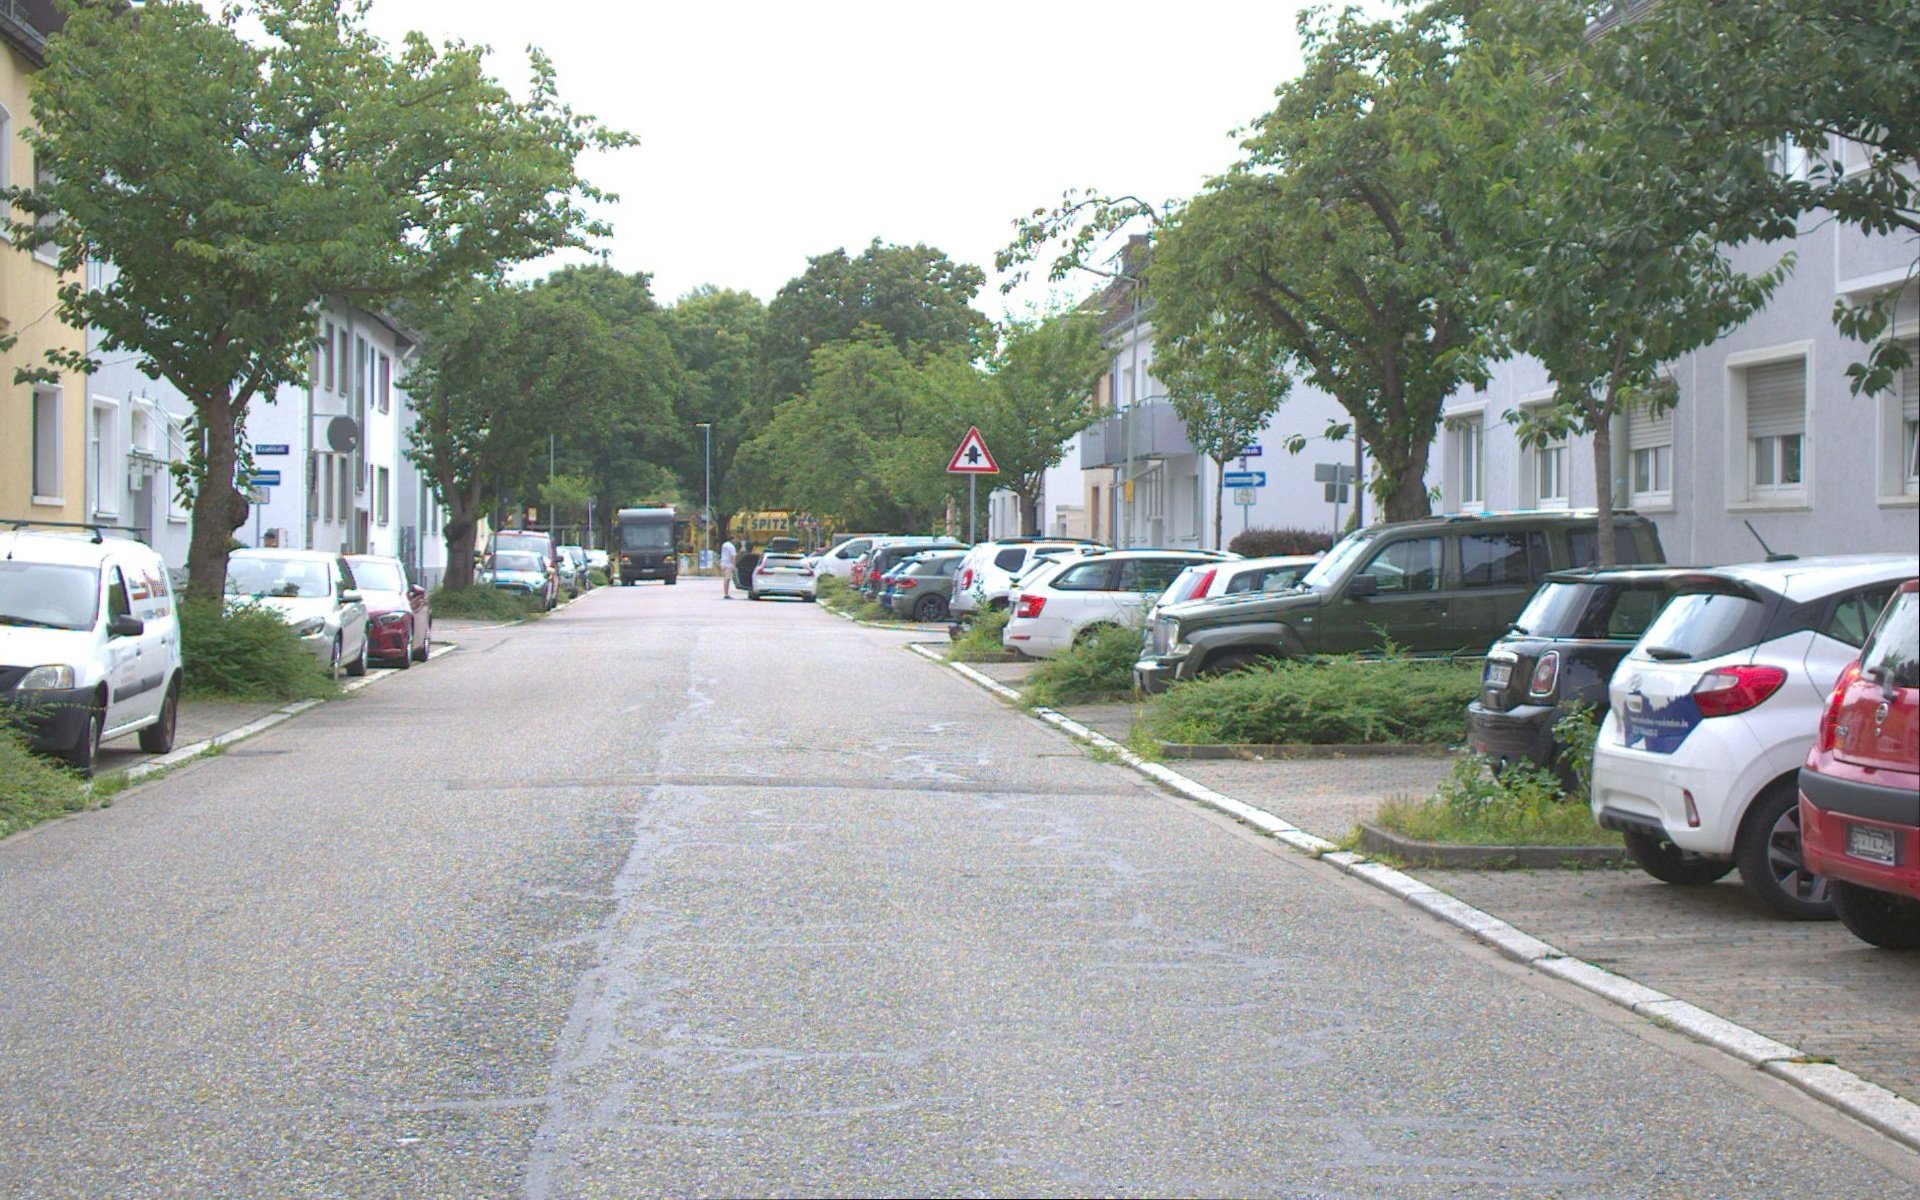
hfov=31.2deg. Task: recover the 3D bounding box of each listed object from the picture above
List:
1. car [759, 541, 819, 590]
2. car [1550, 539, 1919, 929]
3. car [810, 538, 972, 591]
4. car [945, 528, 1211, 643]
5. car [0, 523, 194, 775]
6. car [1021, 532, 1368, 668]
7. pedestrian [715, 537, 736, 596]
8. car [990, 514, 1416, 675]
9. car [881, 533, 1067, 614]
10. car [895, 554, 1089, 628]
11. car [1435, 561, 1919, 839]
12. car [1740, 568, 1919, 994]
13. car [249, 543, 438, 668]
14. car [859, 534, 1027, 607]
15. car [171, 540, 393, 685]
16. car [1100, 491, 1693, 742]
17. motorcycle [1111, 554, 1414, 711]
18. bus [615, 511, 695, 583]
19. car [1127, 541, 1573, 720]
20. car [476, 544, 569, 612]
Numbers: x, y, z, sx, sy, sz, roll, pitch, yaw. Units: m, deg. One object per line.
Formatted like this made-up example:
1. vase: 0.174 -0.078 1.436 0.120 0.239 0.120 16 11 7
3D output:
1. car: -4.994 -1.002 100.373 1.687 1.349 3.827 -2 1 -3
2. car: 4.765 0.486 14.860 3.986 1.525 1.768 -2 1 -7
3. car: -2.212 -1.120 108.933 4.974 1.513 1.769 -2 1 -5
4. car: 1.789 -0.235 53.123 3.923 1.627 1.868 -2 1 -3
5. car: -6.656 0.304 23.837 1.918 1.576 4.383 -2 1 -4
6. car: 2.820 -0.012 41.873 3.986 1.503 1.713 -2 1 -4
7. pedestrian: -6.794 -0.976 99.520 0.522 1.698 0.444 -2 1 0
8. car: 2.724 -0.073 39.275 4.614 1.658 1.893 -2 1 -3
9. car: 0.278 -0.558 71.667 3.747 1.559 1.773 -2 1 -3
10. car: 0.622 -0.186 68.789 3.747 1.361 1.773 -2 1 -3
11. car: 4.727 0.532 20.000 3.542 1.448 1.809 -2 1 -4
12. car: 5.089 0.550 12.518 3.986 1.405 1.768 -2 1 -7
13. car: -7.898 0.041 44.400 1.877 1.481 4.513 -2 1 -4
14. car: -0.415 -0.689 79.125 3.747 1.559 1.773 -2 1 -3
15. car: -7.649 0.109 39.131 1.771 1.387 4.275 6 0 -3
16. car: 3.487 0.118 28.018 4.525 1.851 1.793 -2 1 -1
17. motorcycle: 2.851 0.293 32.573 2.700 1.459 1.032 0 1 -8
18. bus: -12.379 -2.151 140.034 3.003 2.752 8.925 -2 1 -4
19. car: 3.467 0.248 30.912 3.624 1.449 1.773 -2 1 -8
20. car: -10.509 -0.548 82.801 1.763 1.549 3.731 -2 1 -1
